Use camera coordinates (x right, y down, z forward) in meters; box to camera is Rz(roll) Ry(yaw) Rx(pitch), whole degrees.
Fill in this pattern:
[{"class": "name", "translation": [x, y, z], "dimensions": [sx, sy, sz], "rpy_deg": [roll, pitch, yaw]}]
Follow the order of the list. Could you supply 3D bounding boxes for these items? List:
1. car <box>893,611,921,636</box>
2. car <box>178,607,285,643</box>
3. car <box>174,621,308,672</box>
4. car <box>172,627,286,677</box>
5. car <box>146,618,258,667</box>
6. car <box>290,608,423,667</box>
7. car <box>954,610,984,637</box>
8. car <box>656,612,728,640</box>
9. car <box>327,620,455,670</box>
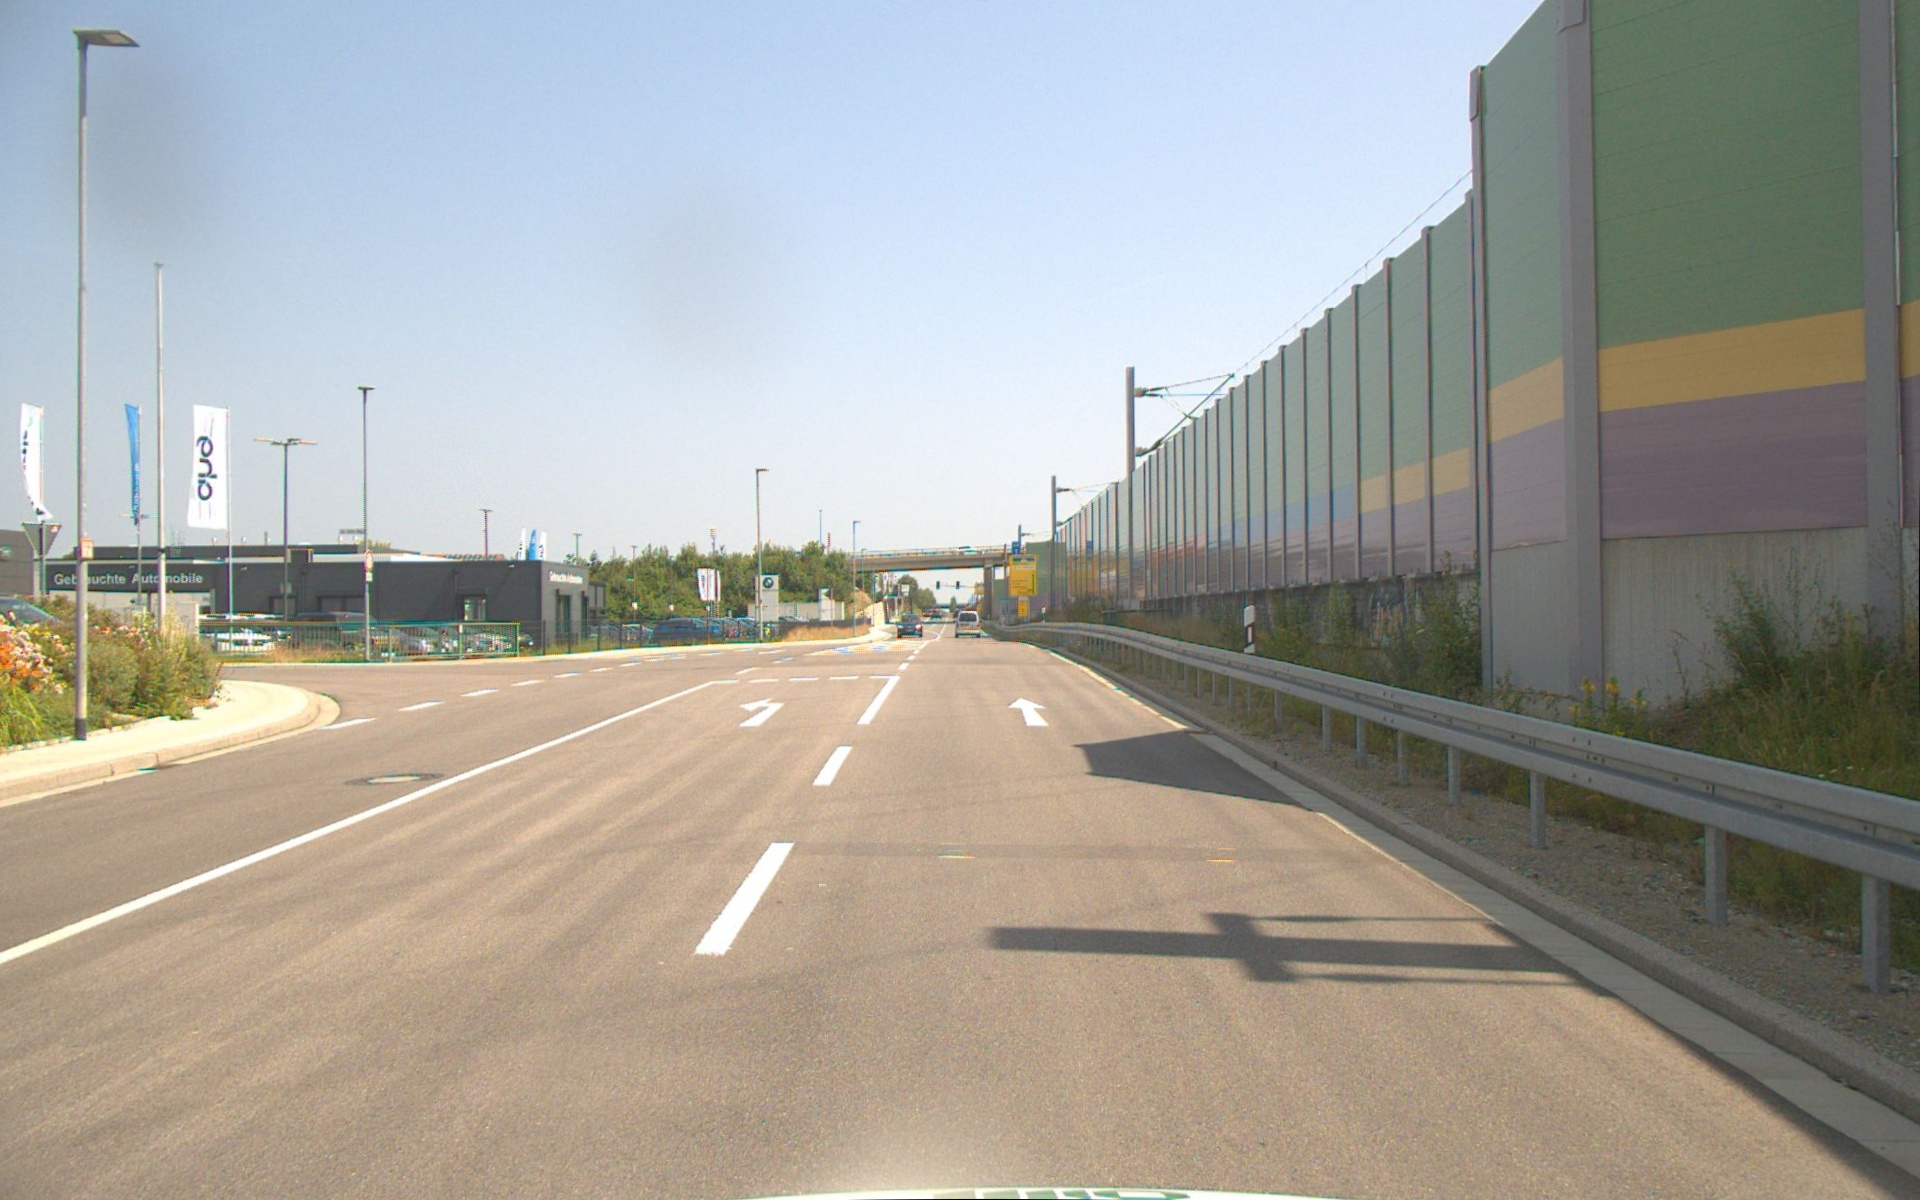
[{"class": "car", "translation": [-3.797, 1.670, 118.316], "dimensions": [1.839, 1.702, 4.290], "rpy_deg": [-1, 0, 0]}, {"class": "car", "translation": [-31.059, 1.070, 70.584], "dimensions": [3.760, 1.446, 1.685], "rpy_deg": [-1, 0, -2]}, {"class": "car", "translation": [-25.706, 1.650, 59.228], "dimensions": [3.907, 1.694, 1.976], "rpy_deg": [-1, 0, -2]}, {"class": "car", "translation": [-24.332, 1.727, 55.014], "dimensions": [4.430, 1.589, 1.915], "rpy_deg": [-2, -2, 43]}, {"class": "car", "translation": [-30.934, 1.720, 67.557], "dimensions": [3.760, 1.860, 1.685], "rpy_deg": [-1, 0, -2]}, {"class": "car", "translation": [-20.333, 1.279, 55.629], "dimensions": [4.587, 1.898, 2.057], "rpy_deg": [-1, -2, 37]}, {"class": "car", "translation": [0.630, 1.619, 114.928], "dimensions": [1.952, 1.788, 4.001], "rpy_deg": [-1, 0, 1]}, {"class": "car", "translation": [-15.664, 1.531, 96.783], "dimensions": [3.907, 1.506, 1.910], "rpy_deg": [-1, 0, -2]}, {"class": "car", "translation": [-20.350, 1.601, 59.303], "dimensions": [3.907, 1.660, 1.886], "rpy_deg": [-1, 0, -2]}]
